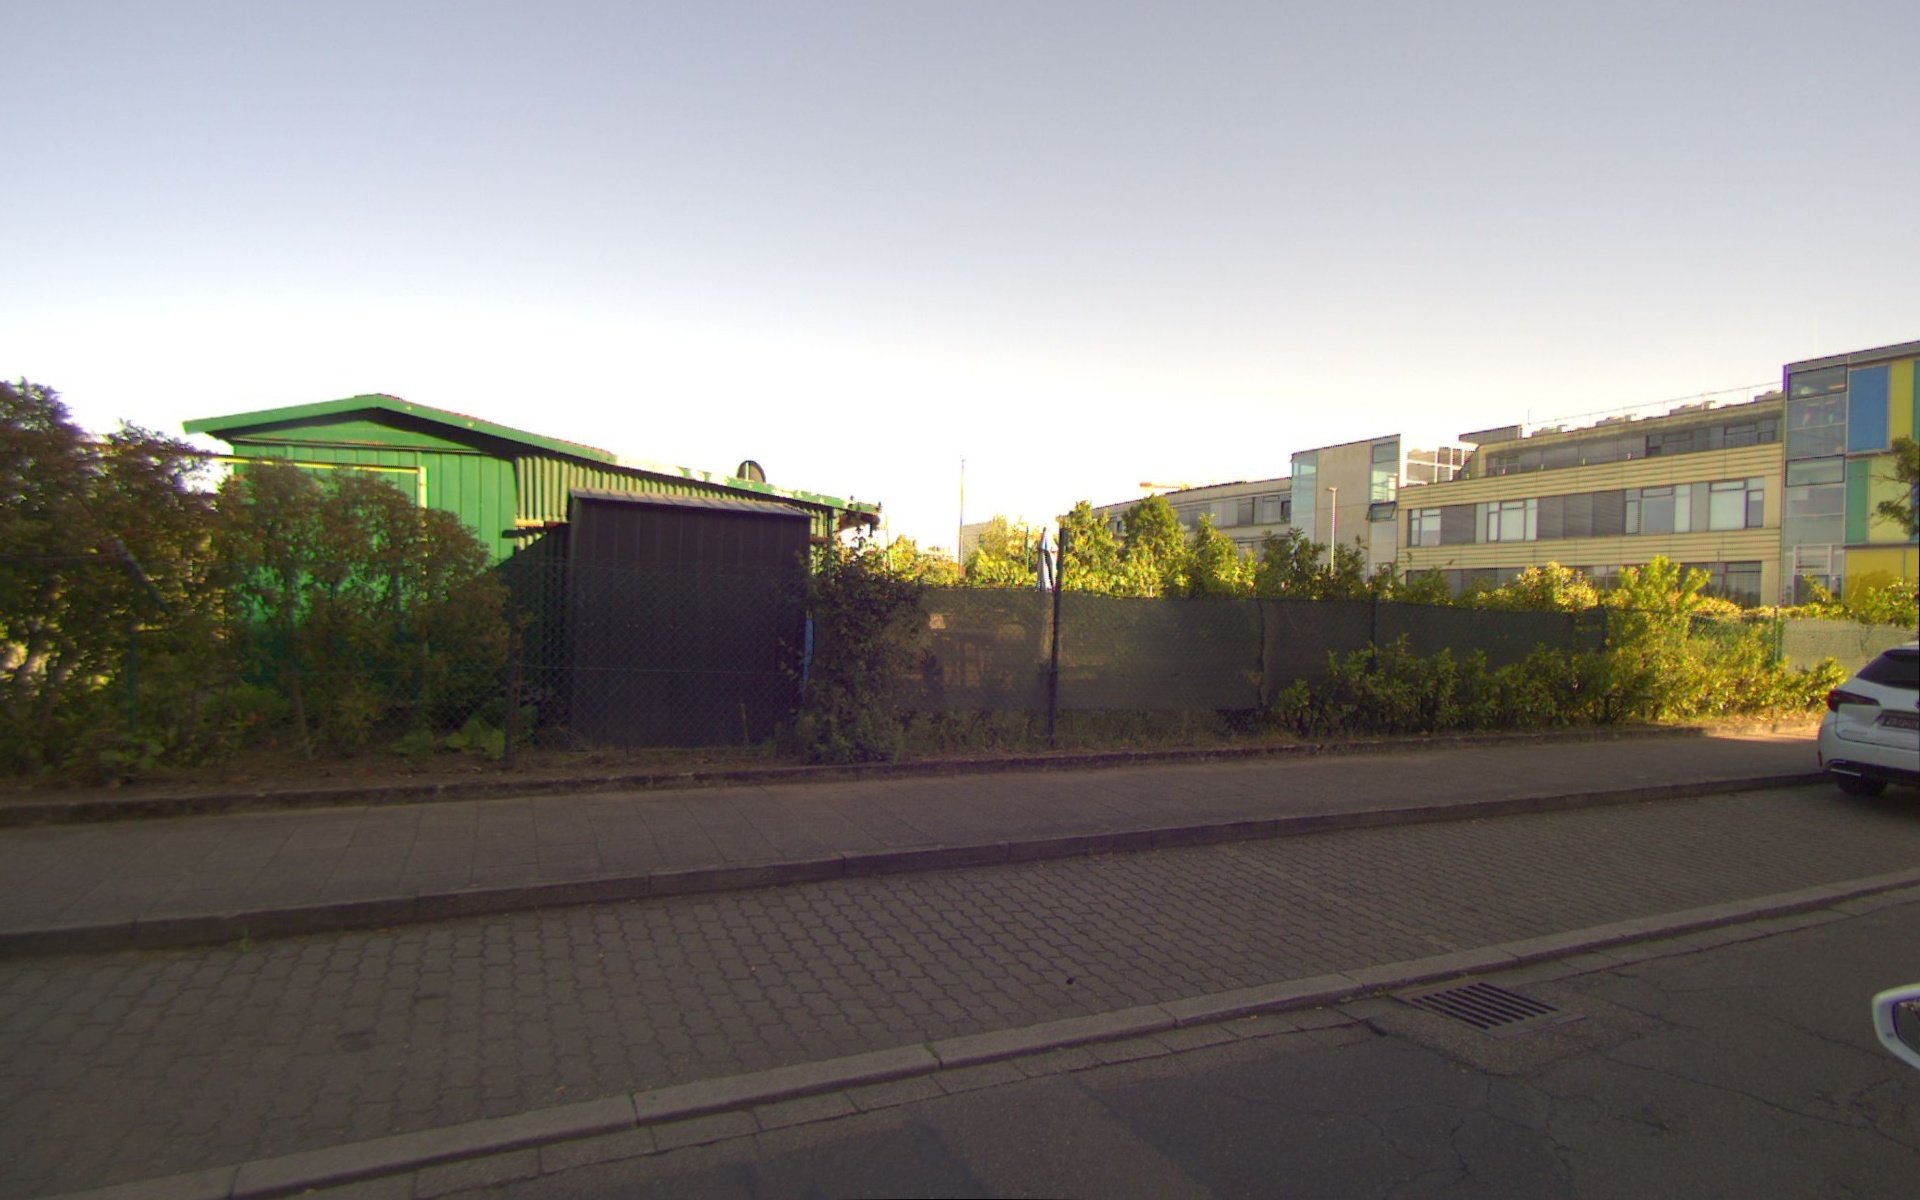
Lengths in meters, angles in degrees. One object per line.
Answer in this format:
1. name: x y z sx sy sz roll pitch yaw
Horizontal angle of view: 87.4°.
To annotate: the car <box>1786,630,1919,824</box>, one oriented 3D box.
1. car: 9.566 1.078 8.859 4.480 1.465 1.741 2 1 -25
